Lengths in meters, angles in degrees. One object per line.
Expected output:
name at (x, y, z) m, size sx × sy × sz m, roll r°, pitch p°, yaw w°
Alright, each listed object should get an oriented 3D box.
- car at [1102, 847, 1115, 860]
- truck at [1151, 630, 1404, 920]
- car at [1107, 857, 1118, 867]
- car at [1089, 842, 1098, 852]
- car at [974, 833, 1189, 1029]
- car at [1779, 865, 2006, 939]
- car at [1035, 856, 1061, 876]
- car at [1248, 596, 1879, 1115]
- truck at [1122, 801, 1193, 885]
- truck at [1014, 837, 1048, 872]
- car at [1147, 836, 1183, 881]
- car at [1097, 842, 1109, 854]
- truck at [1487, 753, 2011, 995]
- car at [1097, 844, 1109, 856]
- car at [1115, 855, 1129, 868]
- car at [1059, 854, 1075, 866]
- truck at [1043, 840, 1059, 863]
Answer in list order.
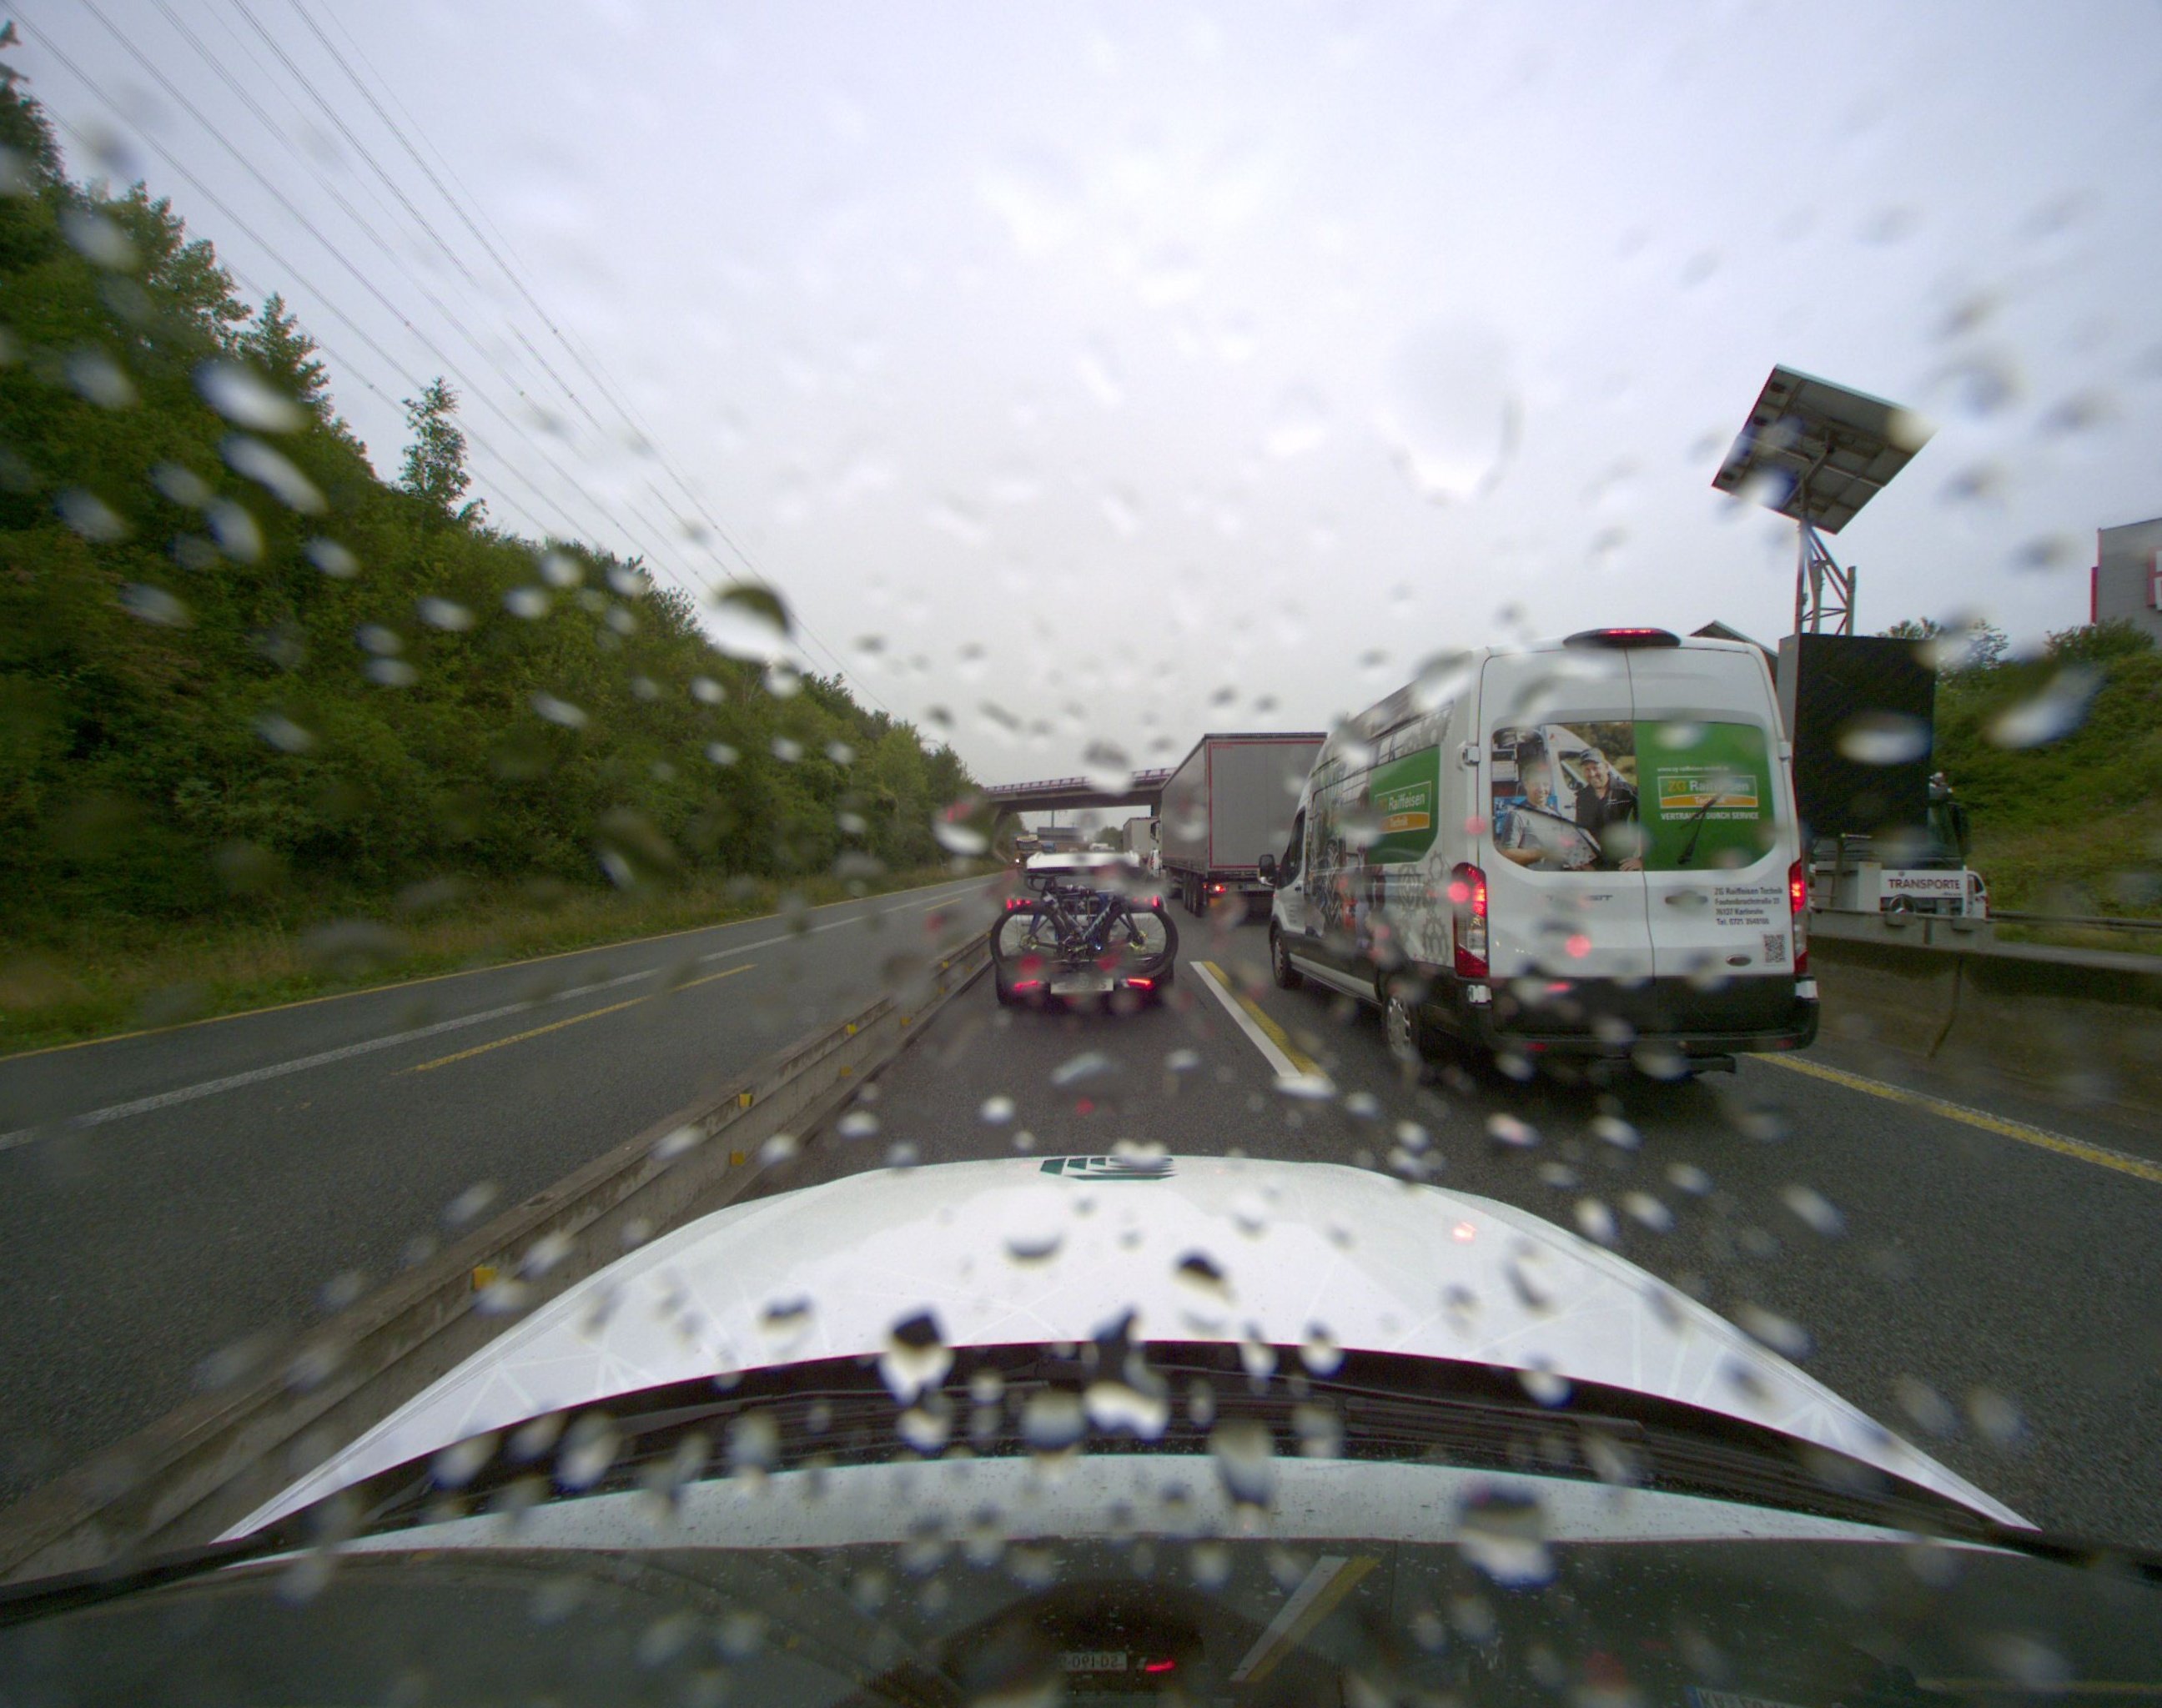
car at (4.451, -0.090, 132.853) m, size 1.986 × 2.014 × 4.001 m, roll -1°, pitch -1°, yaw 1°
truck at (4.746, -1.483, 26.279) m, size 3.964 × 5.673 × 20.386 m, roll -1°, pitch 0°, yaw 2°
car at (4.639, 1.193, 120.056) m, size 1.632 × 1.497 × 3.668 m, roll -1°, pitch -1°, yaw 2°
car at (2.884, -1.486, 183.578) m, size 1.986 × 2.126 × 4.529 m, roll -1°, pitch -1°, yaw 2°
car at (0.131, 0.674, 9.207) m, size 1.802 × 1.637 × 4.639 m, roll -1°, pitch -1°, yaw 3°
car at (22.679, 1.261, 23.095) m, size 1.934 × 1.829 × 4.732 m, roll -1°, pitch -1°, yaw 4°
car at (-2.526, 0.924, 63.061) m, size 1.773 × 1.443 × 4.329 m, roll -1°, pitch -1°, yaw 1°
car at (3.120, 0.029, 7.288) m, size 2.136 × 2.676 × 6.119 m, roll -1°, pitch -1°, yaw 2°
truck at (5.802, -0.688, 65.864) m, size 4.723 × 5.673 × 20.392 m, roll -1°, pitch 0°, yaw 3°
truck at (-5.561, 0.123, 92.638) m, size 2.671 × 3.656 × 12.317 m, roll -1°, pitch -1°, yaw 2°
car at (4.330, 0.233, 42.455) m, size 1.663 × 2.180 × 4.538 m, roll -1°, pitch -1°, yaw 3°
car at (4.280, -1.171, 159.749) m, size 2.230 × 2.307 × 4.574 m, roll -1°, pitch -1°, yaw 2°
truck at (11.001, 0.296, 15.214) m, size 2.511 × 3.132 × 9.122 m, roll -1°, pitch -1°, yaw 2°
car at (4.007, -0.675, 146.754) m, size 1.986 × 2.014 × 4.002 m, roll -1°, pitch -1°, yaw 2°
car at (4.785, 0.912, 95.397) m, size 1.632 × 1.497 × 3.668 m, roll -1°, pitch -1°, yaw 2°
car at (-1.850, 0.800, 109.248) m, size 1.928 × 1.607 × 4.121 m, roll -1°, pitch -1°, yaw 2°
truck at (-5.864, -0.434, 156.927) m, size 2.760 × 4.123 × 16.905 m, roll -1°, pitch 0°, yaw -3°
